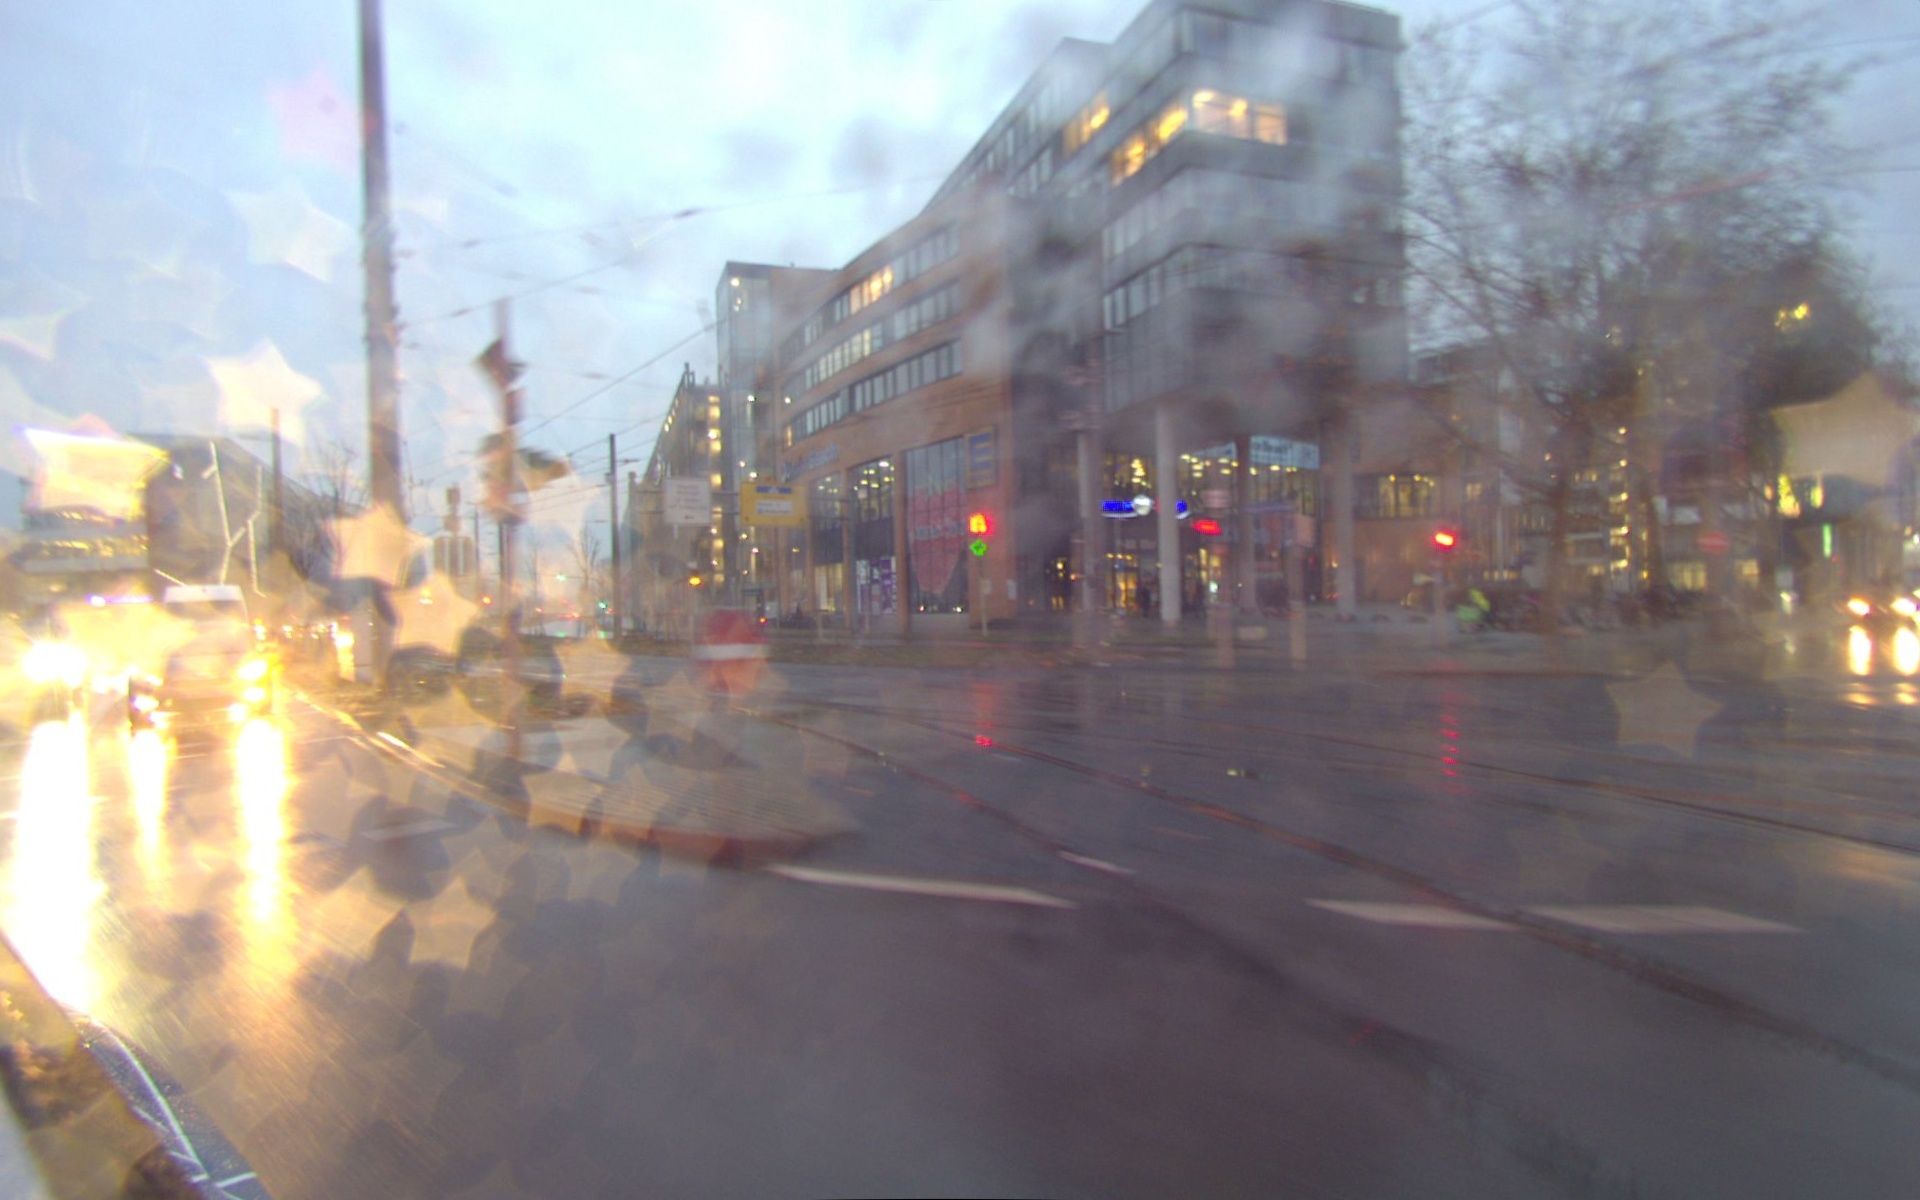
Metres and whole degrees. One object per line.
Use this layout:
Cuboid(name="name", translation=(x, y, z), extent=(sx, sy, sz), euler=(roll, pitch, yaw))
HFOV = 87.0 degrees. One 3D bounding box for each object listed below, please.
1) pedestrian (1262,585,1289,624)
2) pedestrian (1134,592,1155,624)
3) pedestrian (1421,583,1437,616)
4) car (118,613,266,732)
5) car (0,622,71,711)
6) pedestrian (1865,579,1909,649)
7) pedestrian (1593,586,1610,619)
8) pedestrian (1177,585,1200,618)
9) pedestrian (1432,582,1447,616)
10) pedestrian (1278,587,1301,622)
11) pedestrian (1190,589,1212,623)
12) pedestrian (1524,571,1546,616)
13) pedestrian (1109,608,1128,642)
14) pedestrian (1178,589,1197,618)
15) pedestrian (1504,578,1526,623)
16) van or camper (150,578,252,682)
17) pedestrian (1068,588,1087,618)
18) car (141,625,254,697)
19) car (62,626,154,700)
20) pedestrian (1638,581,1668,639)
Cuboid(name="pedestrian", translation=(15.289, 0.229, 48.977), extent=(0.762, 1.859, 0.925), euler=(-1, -1, -30))
Cuboid(name="pedestrian", translation=(8.973, 0.397, 49.265), extent=(0.642, 1.514, 0.696), euler=(-1, -1, -30))
Cuboid(name="pedestrian", translation=(24.800, -0.023, 53.497), extent=(0.644, 1.764, 0.447), euler=(-1, -1, -39))
Cuboid(name="car", translation=(-12.020, 1.045, 15.894), extent=(1.658, 1.584, 3.769), euler=(-1, 0, -37))
Cuboid(name="car", translation=(-17.738, 1.183, 18.715), extent=(1.747, 1.469, 4.229), euler=(-1, 0, -39))
Cuboid(name="pedestrian", translation=(27.313, 0.402, 29.837), extent=(0.755, 2.029, 0.701), euler=(-1, 0, 28))
Cuboid(name="pedestrian", translation=(33.400, 0.120, 52.718), extent=(0.588, 1.696, 0.562), euler=(-1, -1, -43))
Cuboid(name="pedestrian", translation=(12.206, 0.101, 54.100), extent=(0.926, 1.721, 0.684), euler=(-2, -1, 41))
Cuboid(name="pedestrian", translation=(25.222, -0.051, 53.211), extent=(0.644, 1.764, 0.447), euler=(-1, -1, -39))
Cuboid(name="pedestrian", translation=(16.100, 0.221, 49.431), extent=(0.715, 1.721, 0.696), euler=(-1, -1, -30))
Cuboid(name="pedestrian", translation=(11.957, 0.284, 50.203), extent=(0.729, 1.669, 0.696), euler=(-1, -1, -30))
Cuboid(name="pedestrian", translation=(21.878, -0.241, 38.518), extent=(0.593, 1.696, 0.558), euler=(-2, -1, 19))
Cuboid(name="pedestrian", translation=(6.070, 0.968, 38.692), extent=(0.439, 1.274, 0.496), euler=(-3, 1, -43))
Cuboid(name="pedestrian", translation=(11.960, 0.179, 53.317), extent=(0.642, 1.514, 0.696), euler=(-1, -1, -30))
Cuboid(name="pedestrian", translation=(21.427, 0.032, 39.094), extent=(0.593, 1.696, 0.558), euler=(-2, -1, 18))
Cuboid(name="van or camper", translation=(-21.516, 0.787, 28.739), extent=(2.029, 2.567, 5.898), euler=(-3, 1, -37))
Cuboid(name="pedestrian", translation=(6.139, 0.168, 52.969), extent=(0.642, 1.514, 0.696), euler=(-1, -1, -30))
Cuboid(name="car", translation=(-16.993, 1.284, 22.577), extent=(1.797, 1.342, 4.234), euler=(-4, 1, -37))
Cuboid(name="car", translation=(-23.039, 1.634, 27.473), extent=(1.658, 1.746, 3.722), euler=(-3, 1, -37))
Cuboid(name="pedestrian", translation=(24.435, 0.345, 35.680), extent=(0.755, 2.029, 0.701), euler=(-1, 0, 28))
